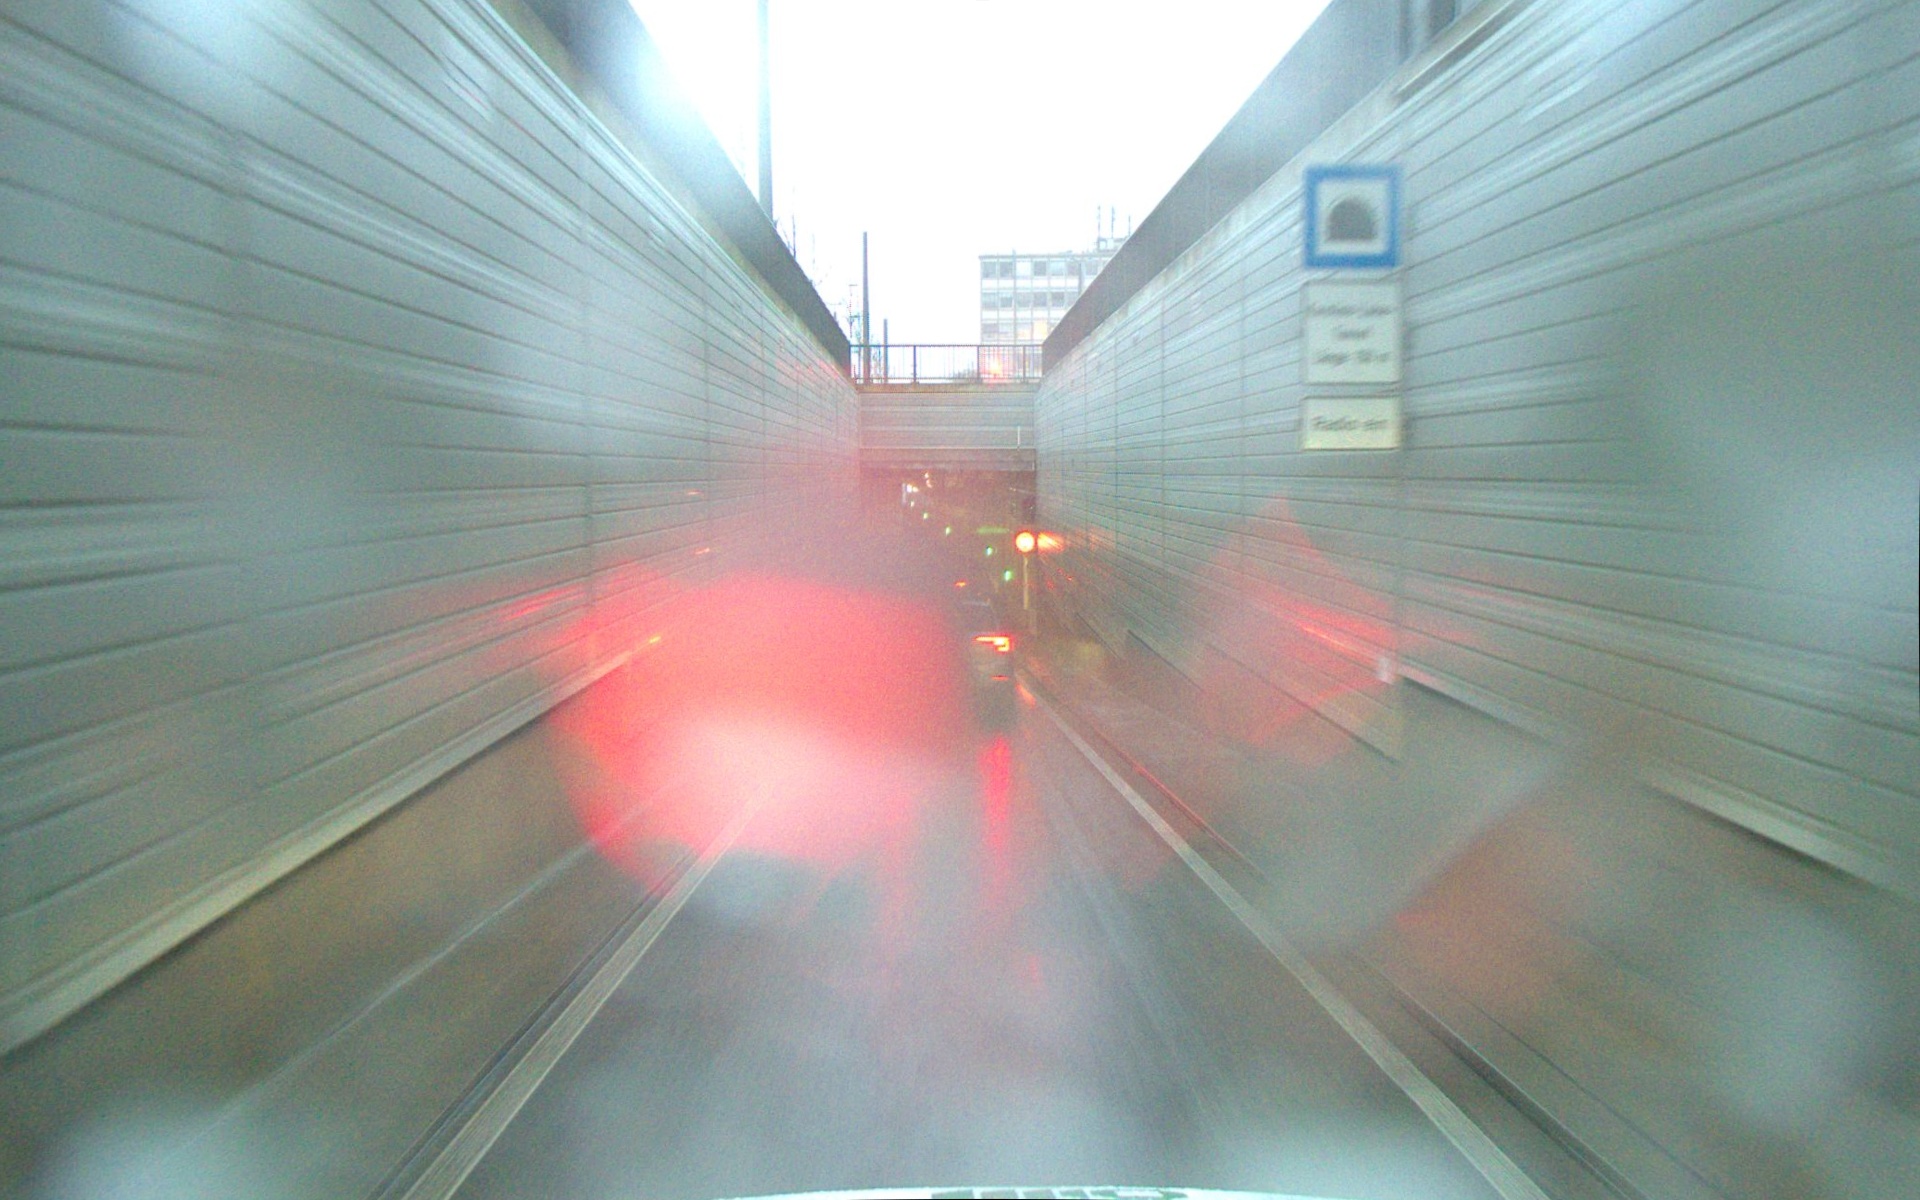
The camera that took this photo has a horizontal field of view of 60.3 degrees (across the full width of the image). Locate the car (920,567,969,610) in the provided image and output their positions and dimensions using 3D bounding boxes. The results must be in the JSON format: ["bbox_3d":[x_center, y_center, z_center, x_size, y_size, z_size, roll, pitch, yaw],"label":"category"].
[{"bbox_3d":[-0.669,-0.490,68.161,1.881,1.511,4.000,1,4,-2],"label":"car"}]

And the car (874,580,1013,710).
[{"bbox_3d":[-0.175,0.530,22.293,1.687,1.505,4.001,1,2,1],"label":"car"}]
